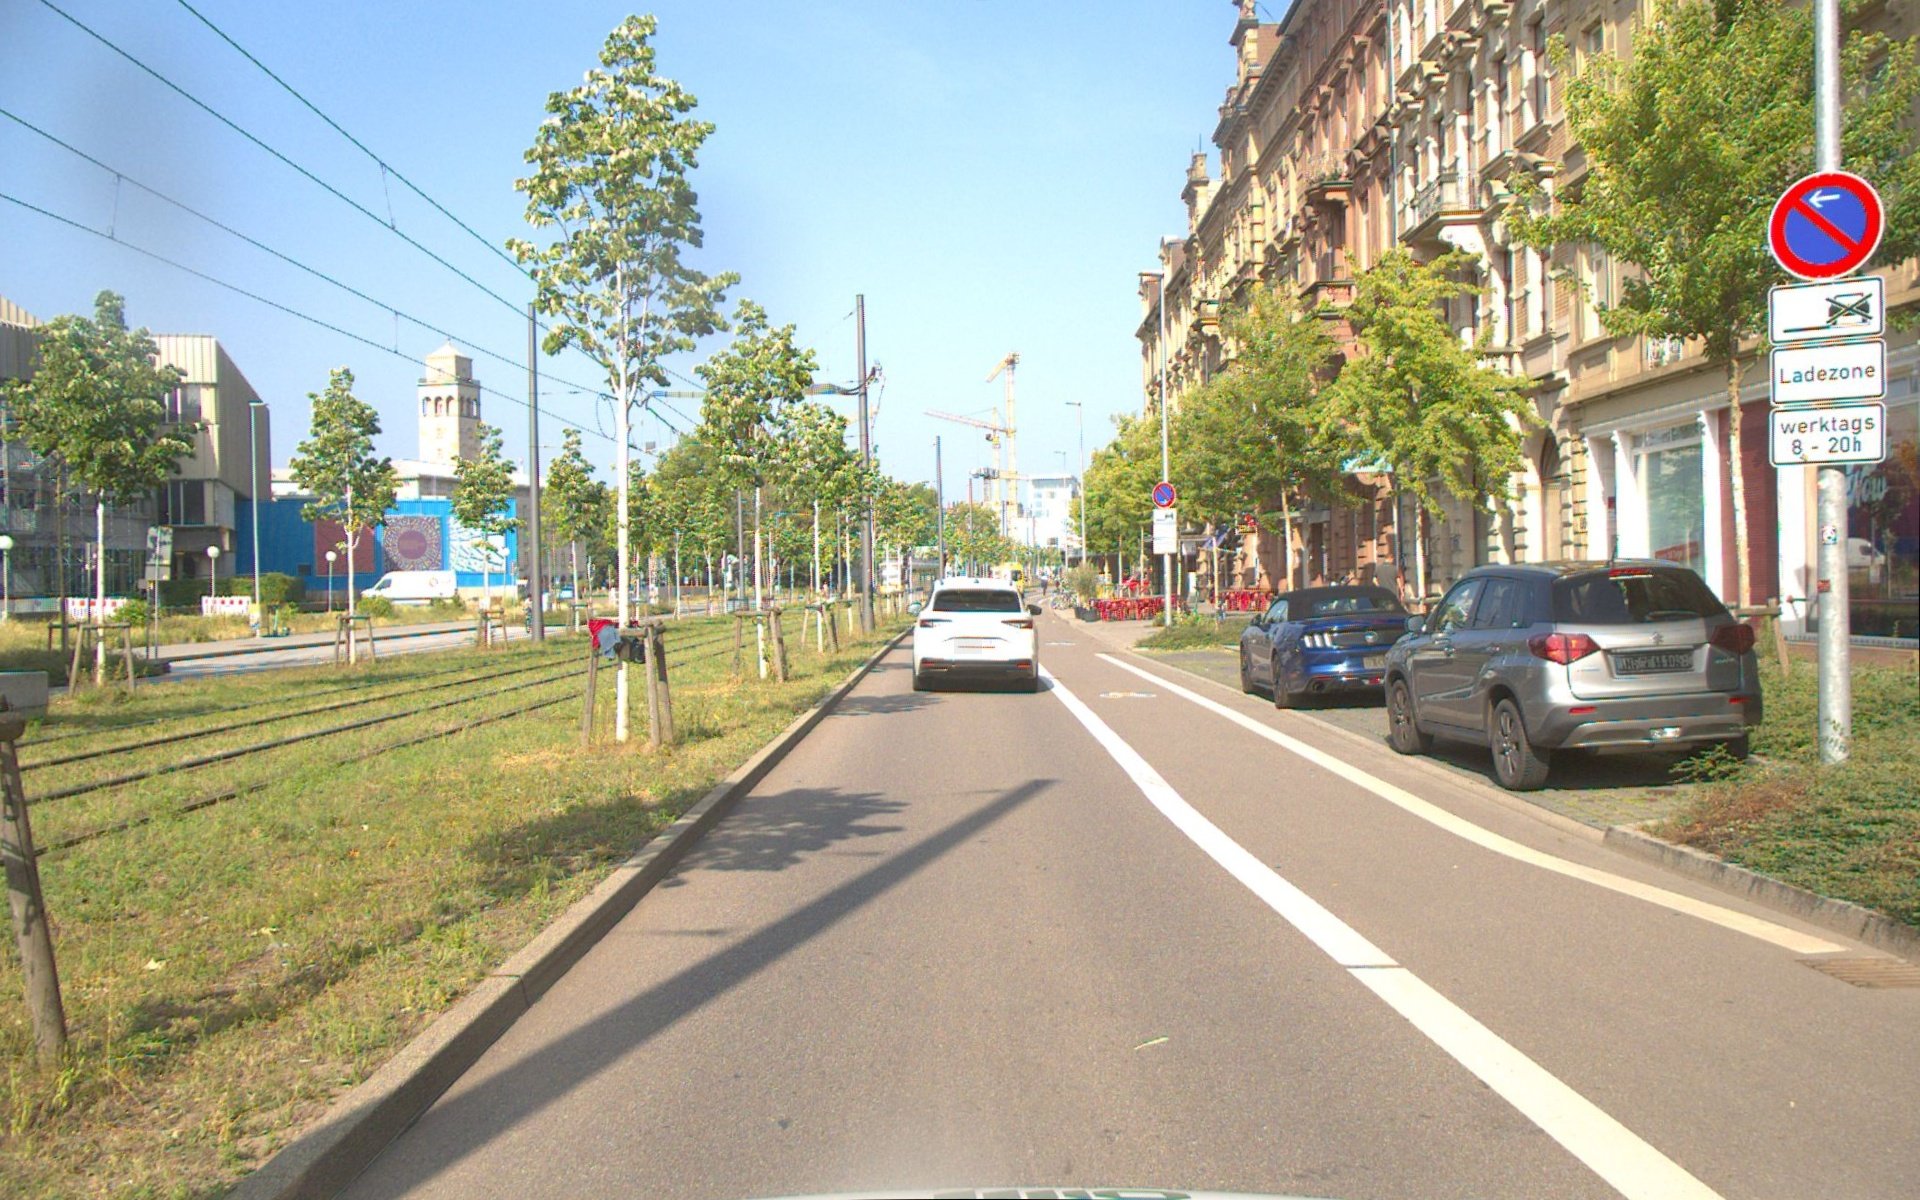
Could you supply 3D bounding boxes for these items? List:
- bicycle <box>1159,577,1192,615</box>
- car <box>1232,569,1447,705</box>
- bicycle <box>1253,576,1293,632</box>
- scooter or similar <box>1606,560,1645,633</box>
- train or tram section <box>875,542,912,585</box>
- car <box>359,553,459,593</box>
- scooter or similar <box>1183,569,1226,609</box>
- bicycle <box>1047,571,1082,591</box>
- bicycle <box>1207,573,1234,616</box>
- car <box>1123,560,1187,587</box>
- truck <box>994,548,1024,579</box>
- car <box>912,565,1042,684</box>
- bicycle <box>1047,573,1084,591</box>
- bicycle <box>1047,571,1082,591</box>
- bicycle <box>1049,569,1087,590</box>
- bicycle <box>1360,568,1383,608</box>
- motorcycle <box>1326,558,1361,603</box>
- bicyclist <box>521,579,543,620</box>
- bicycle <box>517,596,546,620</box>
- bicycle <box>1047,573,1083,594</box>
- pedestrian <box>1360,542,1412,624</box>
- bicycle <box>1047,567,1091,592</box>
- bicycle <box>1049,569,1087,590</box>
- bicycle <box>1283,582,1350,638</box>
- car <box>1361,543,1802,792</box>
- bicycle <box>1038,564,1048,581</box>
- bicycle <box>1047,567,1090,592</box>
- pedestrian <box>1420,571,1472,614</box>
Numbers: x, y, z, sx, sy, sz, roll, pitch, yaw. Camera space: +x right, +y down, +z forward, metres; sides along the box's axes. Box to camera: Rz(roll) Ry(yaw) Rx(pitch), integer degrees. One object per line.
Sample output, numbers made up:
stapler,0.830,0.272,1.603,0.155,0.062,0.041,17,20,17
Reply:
bicycle,6.825,-0.134,52.419,0.584,1.142,1.924,-1,1,-6
car,4.647,0.376,20.911,1.700,1.420,4.716,-3,1,2
bicycle,6.526,0.077,34.541,0.482,1.113,1.827,-1,1,0
scooter or similar,10.743,-0.073,26.713,0.282,1.154,1.089,-1,1,6
train or tram section,-5.942,-3.264,149.567,2.839,3.649,12.477,-2,1,0
car,-40.183,-1.960,120.580,6.775,2.684,2.499,1,1,-21
scooter or similar,7.591,-0.345,51.331,1.230,1.177,0.340,-4,0,4
bicycle,5.765,-1.048,91.165,1.894,0.962,0.441,-3,1,4
bicycle,6.986,-0.157,44.360,0.494,1.078,1.715,-3,2,15
car,13.140,-1.808,111.584,4.262,1.713,2.002,-1,1,6
truck,3.843,-2.837,128.678,2.167,2.358,5.892,-1,1,2
car,0.246,0.295,24.956,1.780,1.617,4.407,0,1,0
bicycle,5.671,-0.967,88.857,1.894,0.889,0.441,-3,1,2
bicycle,5.730,-1.043,90.686,1.894,0.962,0.441,-3,1,4
bicycle,5.658,-1.065,86.730,1.894,1.003,0.471,-3,1,2
bicycle,10.803,-0.330,43.435,0.388,1.036,1.256,-1,1,5
motorcycle,10.457,-0.536,45.122,0.454,1.196,1.945,-3,1,1
bicyclist,-18.466,-0.026,71.338,0.633,1.766,0.919,-3,0,0
bicycle,-18.452,0.350,71.289,0.648,0.978,2.078,-3,1,0
bicycle,5.708,-0.908,90.198,1.894,1.030,0.441,-3,1,4
pedestrian,9.310,-0.379,36.193,0.807,1.726,0.792,-3,1,-4
bicycle,5.598,-1.061,85.340,2.193,1.123,0.588,-3,1,2
bicycle,5.687,-1.070,87.210,1.915,1.003,0.471,-3,1,2
bicycle,7.264,0.197,33.659,0.447,1.101,1.866,-2,-1,41
car,4.770,0.411,13.416,1.734,1.616,4.245,-3,1,-3
bicycle,7.508,-2.509,149.416,0.765,1.522,2.801,-1,1,2
bicycle,5.626,-1.067,85.895,2.193,1.123,0.519,-3,1,2
pedestrian,10.644,-0.172,36.245,0.860,0.892,0.711,-3,1,-3
